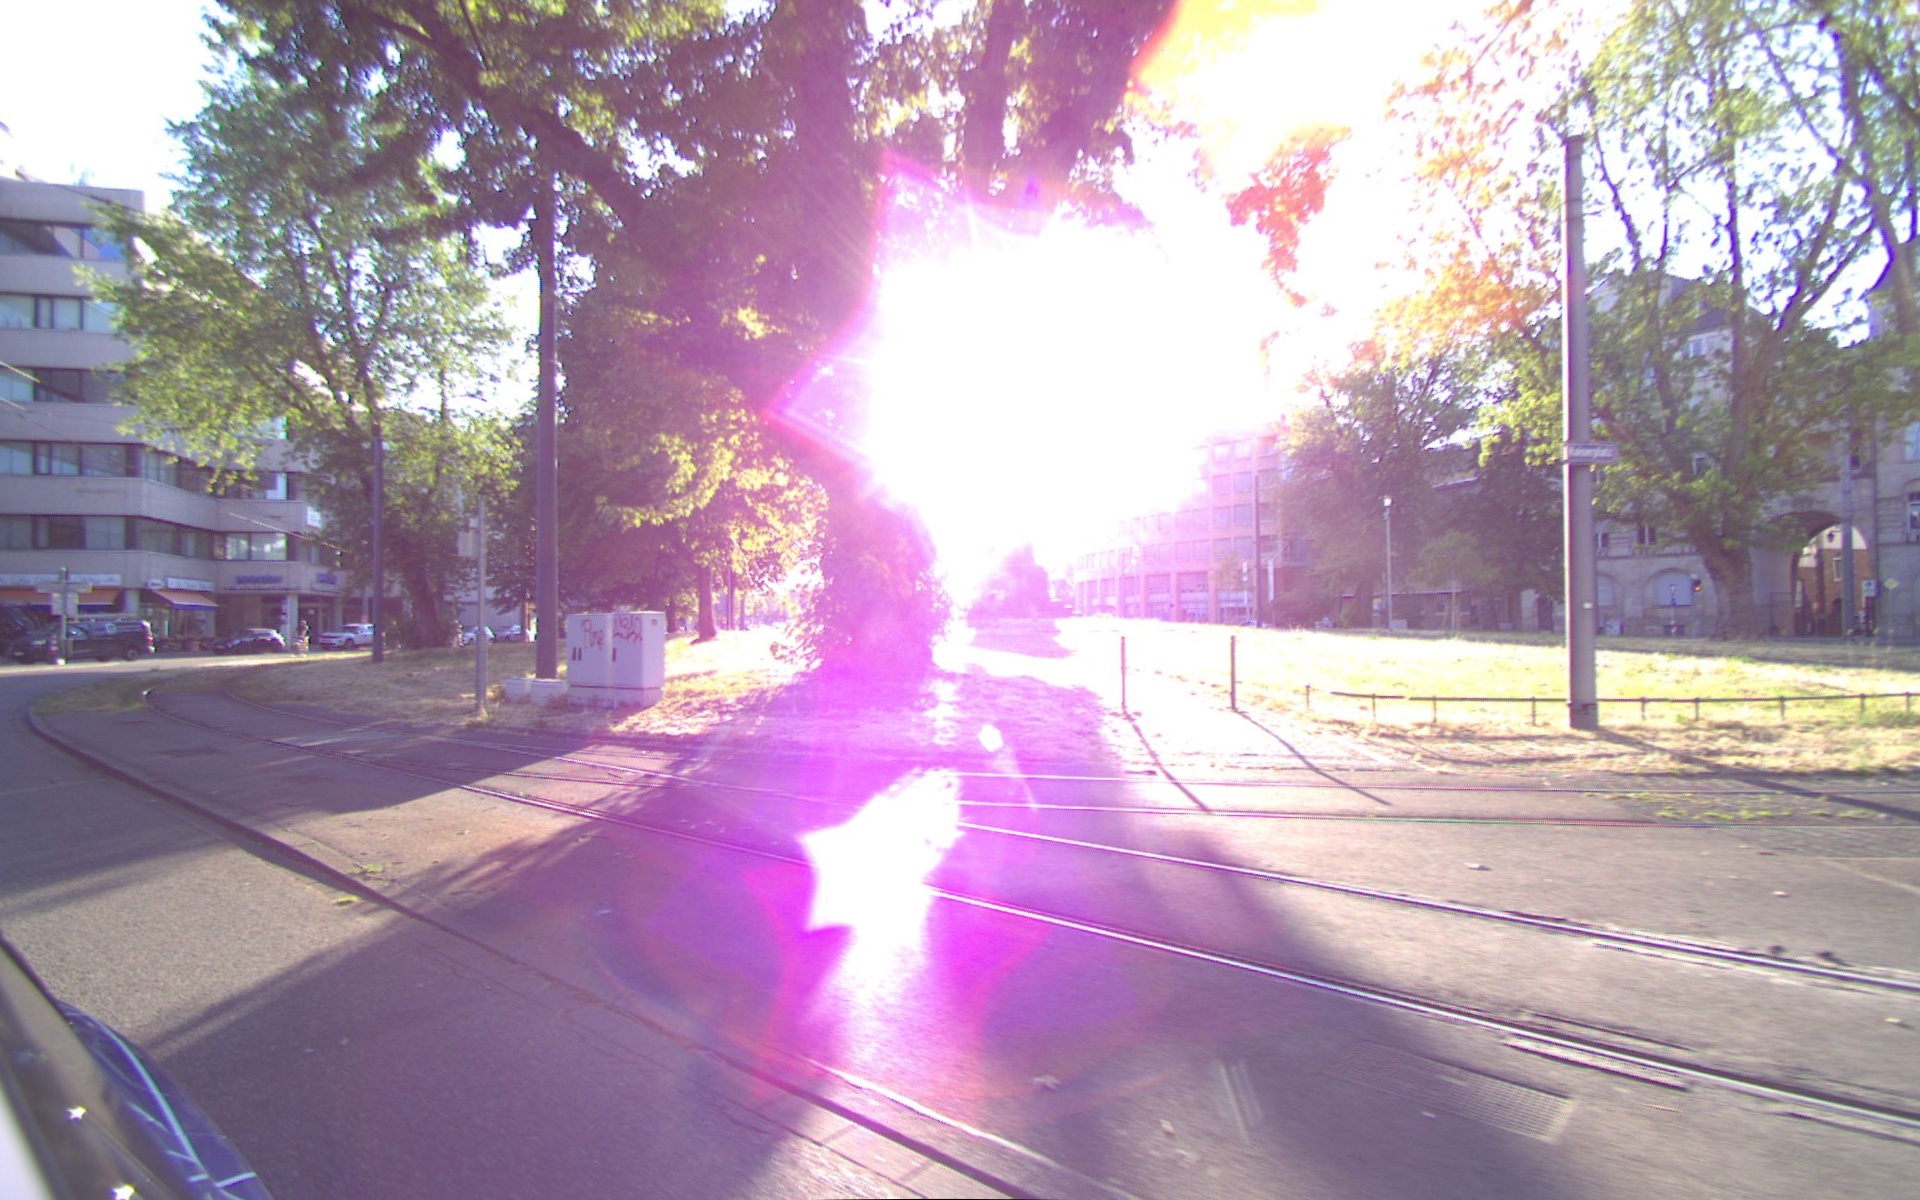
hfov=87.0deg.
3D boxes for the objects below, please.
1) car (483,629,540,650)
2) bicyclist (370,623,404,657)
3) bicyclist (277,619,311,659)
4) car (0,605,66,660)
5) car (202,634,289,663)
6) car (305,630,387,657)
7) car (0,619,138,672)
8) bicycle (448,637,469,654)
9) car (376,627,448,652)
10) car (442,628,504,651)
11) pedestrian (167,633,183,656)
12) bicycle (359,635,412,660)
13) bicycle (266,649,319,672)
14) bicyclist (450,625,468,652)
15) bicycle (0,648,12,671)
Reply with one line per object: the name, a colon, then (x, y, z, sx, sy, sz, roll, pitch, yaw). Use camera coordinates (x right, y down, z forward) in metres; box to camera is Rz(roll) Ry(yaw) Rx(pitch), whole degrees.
car: (-36.560, 3.197, 82.644, 1.980, 1.617, 4.505, -2, -1, 13)
bicyclist: (-34.619, 2.396, 61.169, 1.220, 2.007, 1.366, -1, -1, 2)
bicyclist: (-33.535, 1.946, 50.957, 0.915, 1.989, 1.109, -2, -1, 13)
car: (-48.939, 1.627, 51.007, 5.341, 2.748, 2.188, 1, -2, -17)
car: (-40.664, 2.732, 57.705, 1.776, 1.453, 3.985, -2, -1, 11)
car: (-39.793, 2.789, 65.692, 1.980, 1.617, 4.505, -2, -1, 13)
car: (-39.465, 1.984, 44.851, 1.980, 2.172, 4.505, -2, -1, 13)
bicycle: (-33.925, 3.088, 68.459, 0.859, 1.105, 1.854, -1, -1, -13)
car: (-38.497, 2.730, 71.224, 1.980, 1.617, 4.505, -2, -1, 13)
car: (-37.427, 3.013, 77.924, 1.980, 1.617, 4.505, -2, -1, 13)
pedestrian: (-46.224, 2.590, 59.569, 0.601, 1.331, 0.593, 0, -1, -23)
bicycle: (-34.674, 2.853, 61.172, 1.256, 1.371, 3.238, -1, -1, 2)
bicycle: (-33.526, 3.033, 50.879, 0.926, 1.085, 2.212, -1, -1, 13)
bicyclist: (-33.930, 2.586, 68.546, 0.847, 1.796, 0.988, 0, -1, -13)
bicycle: (-43.049, 2.688, 45.594, 1.292, 1.000, 0.299, -2, -1, 37)
